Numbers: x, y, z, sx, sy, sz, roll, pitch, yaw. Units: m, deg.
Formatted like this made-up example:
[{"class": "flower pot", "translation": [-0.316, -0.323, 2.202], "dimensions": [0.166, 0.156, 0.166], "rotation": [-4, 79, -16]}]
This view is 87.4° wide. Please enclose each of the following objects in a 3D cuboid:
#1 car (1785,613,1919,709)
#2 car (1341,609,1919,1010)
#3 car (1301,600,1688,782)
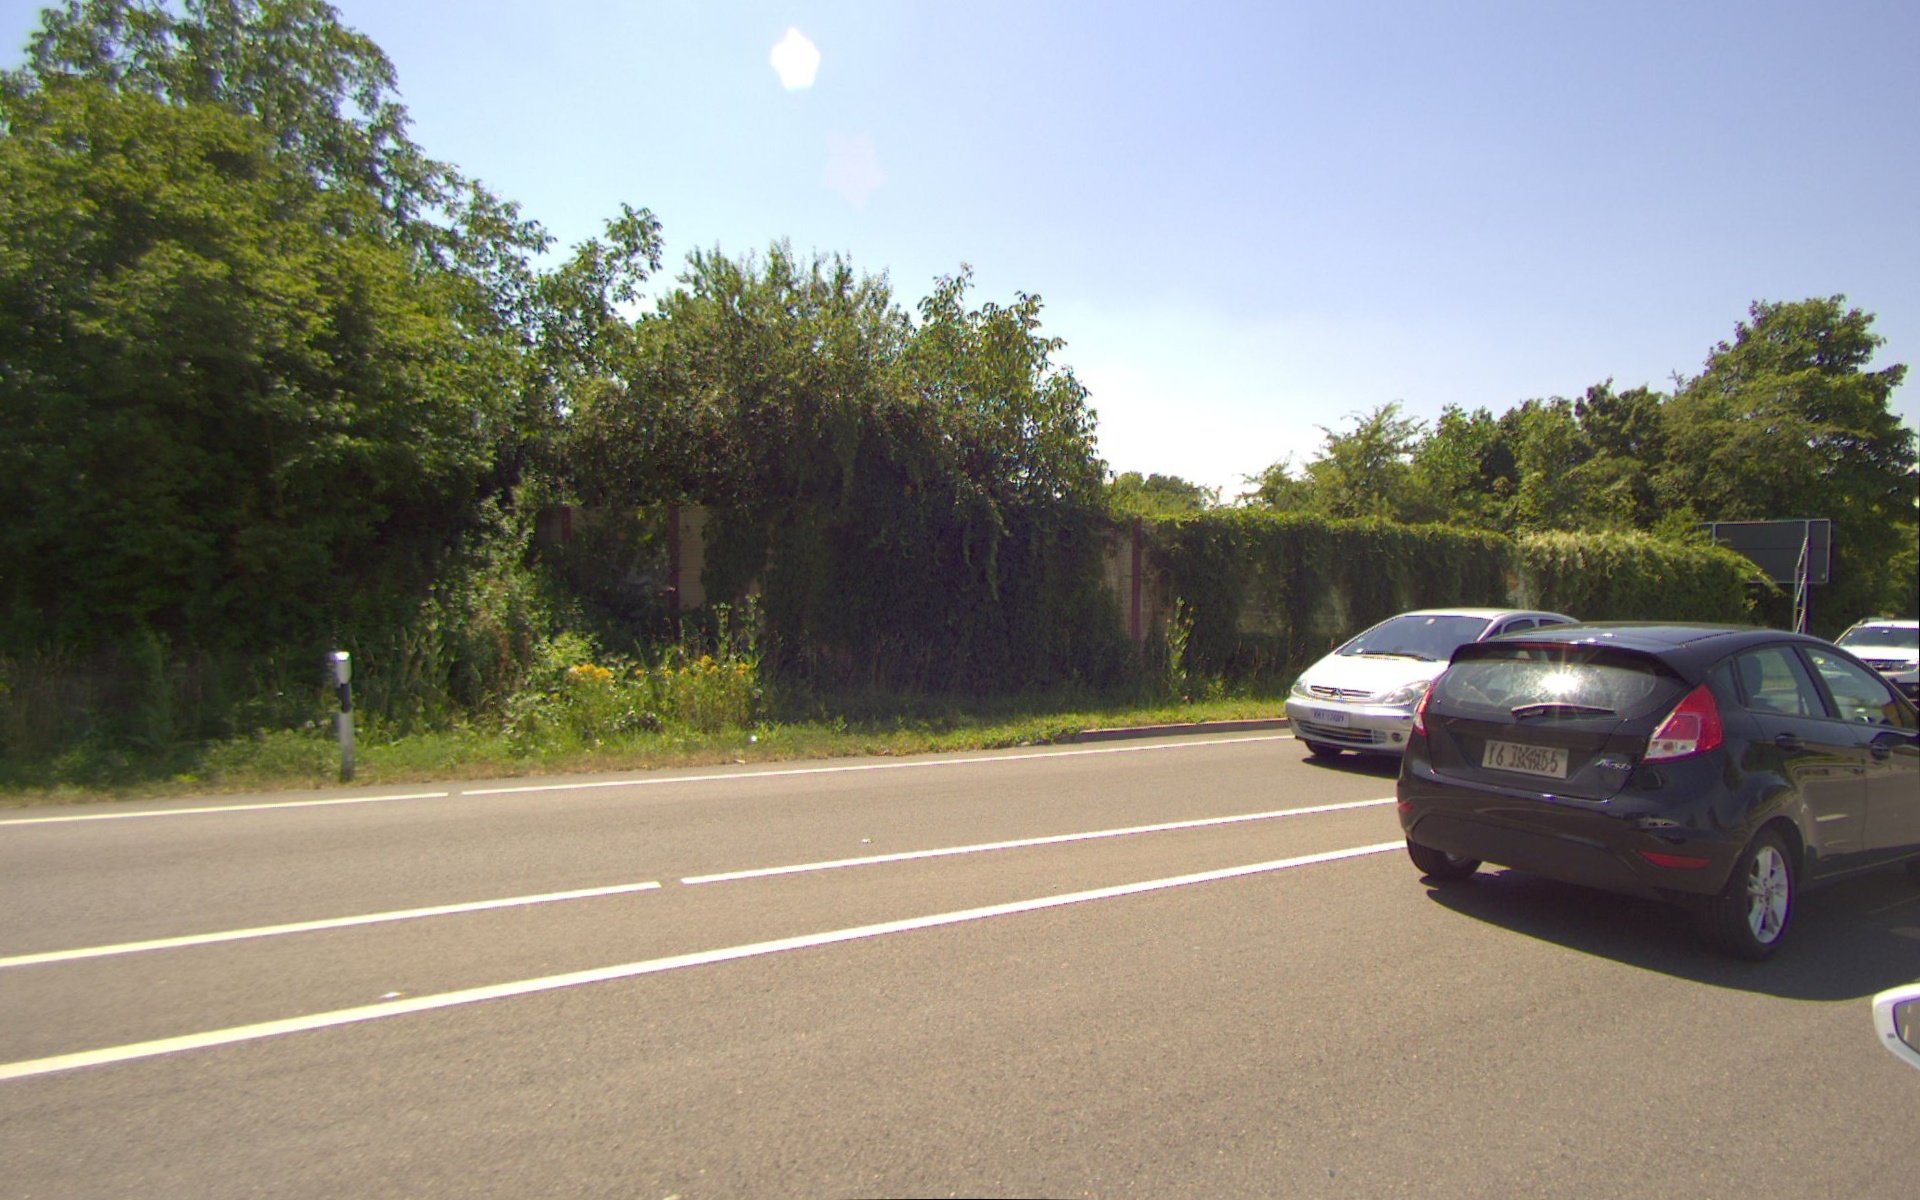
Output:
[{"class": "car", "translation": [17.910, 1.104, 19.363], "dimensions": [4.152, 1.650, 1.982], "rotation": [1, -1, -33]}, {"class": "car", "translation": [4.222, 0.830, 5.683], "dimensions": [4.159, 1.514, 1.644], "rotation": [0, 1, -31]}, {"class": "car", "translation": [6.103, 0.866, 11.257], "dimensions": [4.767, 1.614, 1.825], "rotation": [1, 1, -35]}]
